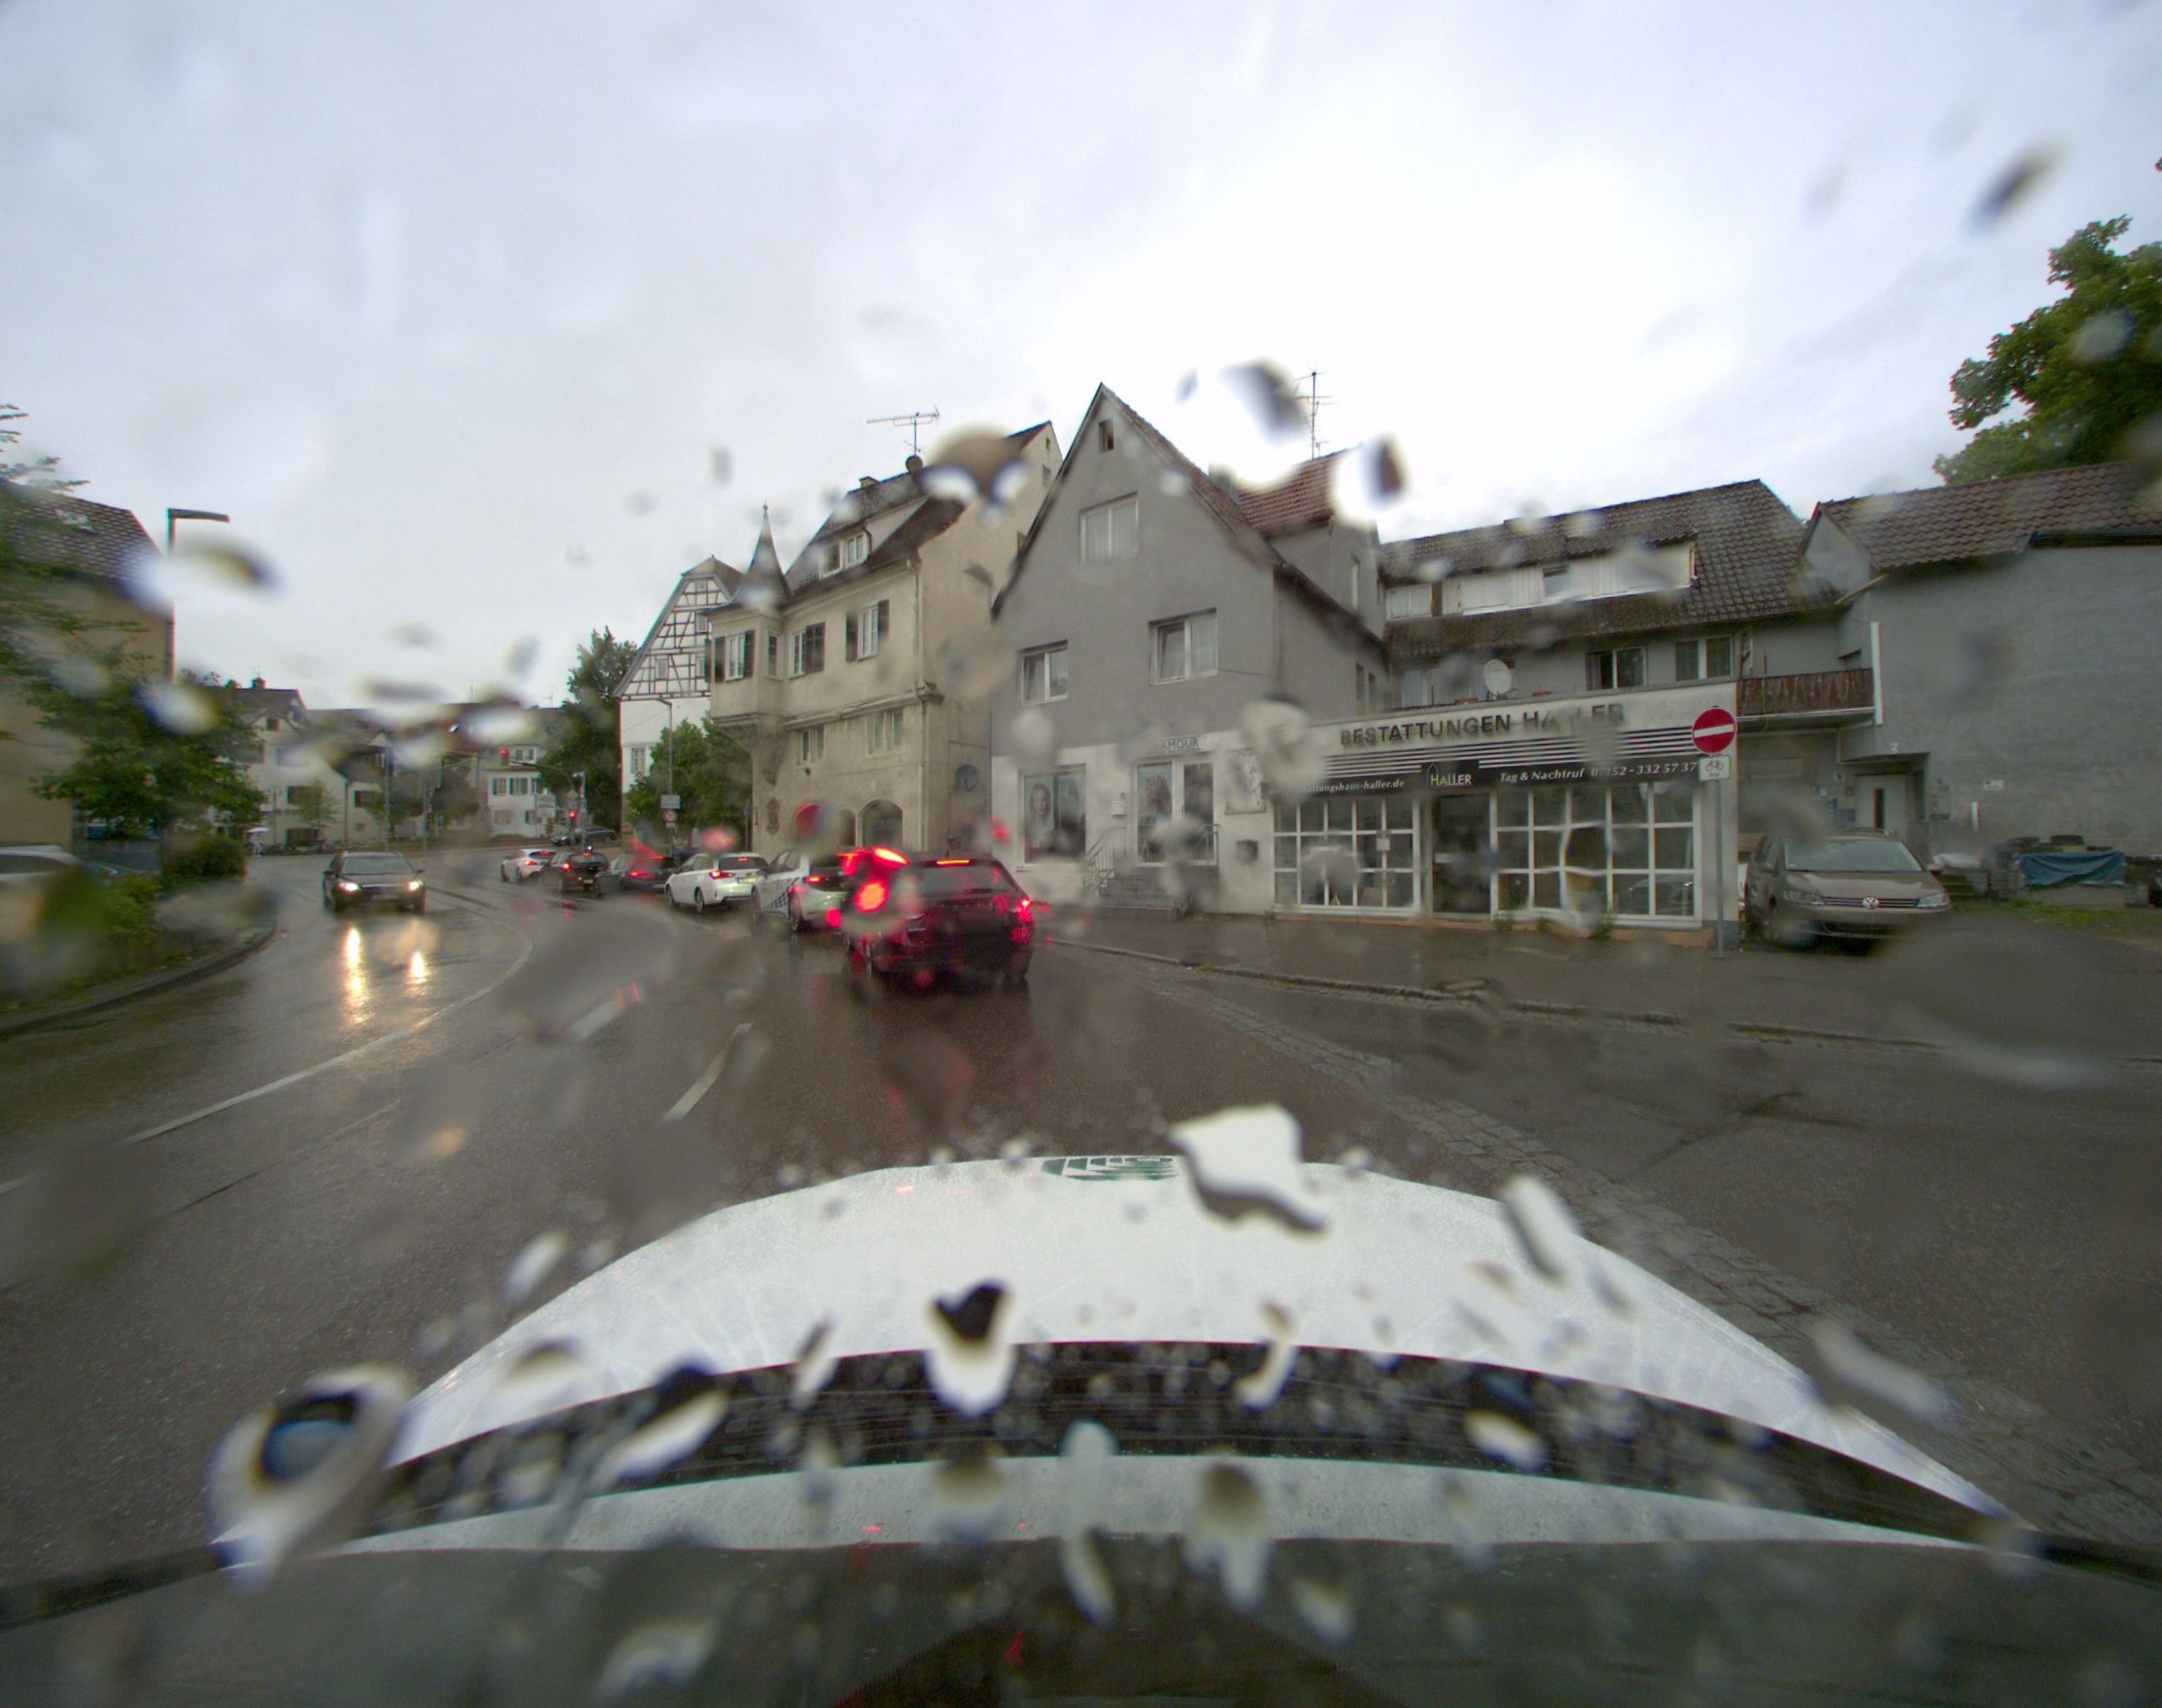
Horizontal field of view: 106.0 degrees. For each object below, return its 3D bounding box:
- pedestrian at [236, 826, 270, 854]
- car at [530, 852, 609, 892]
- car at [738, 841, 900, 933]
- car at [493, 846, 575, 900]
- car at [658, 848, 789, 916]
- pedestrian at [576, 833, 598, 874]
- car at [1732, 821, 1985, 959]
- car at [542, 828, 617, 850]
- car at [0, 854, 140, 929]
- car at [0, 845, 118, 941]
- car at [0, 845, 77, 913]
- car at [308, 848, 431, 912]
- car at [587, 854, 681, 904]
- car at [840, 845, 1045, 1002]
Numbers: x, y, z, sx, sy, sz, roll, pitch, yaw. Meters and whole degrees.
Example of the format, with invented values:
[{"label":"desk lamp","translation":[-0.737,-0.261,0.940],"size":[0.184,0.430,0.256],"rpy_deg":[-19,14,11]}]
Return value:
[{"label":"pedestrian","translation":[-51.549,-0.864,50.698],"size":[1.138,1.742,1.008],"rpy_deg":[-1,0,11]},{"label":"car","translation":[-18.972,0.626,30.151],"size":[3.579,1.312,1.678],"rpy_deg":[1,2,44]},{"label":"car","translation":[-5.304,0.564,16.124],"size":[1.803,1.517,4.194],"rpy_deg":[-2,1,-36]},{"label":"car","translation":[-23.484,0.755,34.923],"size":[3.911,2.090,1.992],"rpy_deg":[1,2,42]},{"label":"car","translation":[-9.129,0.613,20.625],"size":[1.801,1.465,4.114],"rpy_deg":[-3,2,-42]},{"label":"pedestrian","translation":[-28.158,-0.043,46.448],"size":[0.872,2.326,1.216],"rpy_deg":[-1,0,-40]},{"label":"car","translation":[11.728,0.381,12.688],"size":[1.905,1.727,4.698],"rpy_deg":[-1,2,32]},{"label":"car","translation":[-37.550,-1.095,61.124],"size":[1.632,1.389,4.555],"rpy_deg":[7,3,23]},{"label":"car","translation":[-22.308,0.761,16.702],"size":[1.692,1.455,3.558],"rpy_deg":[0,1,24]},{"label":"car","translation":[-20.124,0.712,14.451],"size":[1.692,1.685,3.558],"rpy_deg":[0,1,24]},{"label":"car","translation":[-26.196,0.609,18.720],"size":[1.692,1.576,3.558],"rpy_deg":[0,1,24]},{"label":"car","translation":[-19.134,0.682,21.845],"size":[4.218,1.510,1.749],"rpy_deg":[-2,1,39]},{"label":"car","translation":[-14.133,0.729,25.669],"size":[3.721,1.361,1.533],"rpy_deg":[1,2,44]},{"label":"car","translation":[-1.937,0.643,10.165],"size":[1.738,1.450,4.212],"rpy_deg":[-2,2,-21]}]
